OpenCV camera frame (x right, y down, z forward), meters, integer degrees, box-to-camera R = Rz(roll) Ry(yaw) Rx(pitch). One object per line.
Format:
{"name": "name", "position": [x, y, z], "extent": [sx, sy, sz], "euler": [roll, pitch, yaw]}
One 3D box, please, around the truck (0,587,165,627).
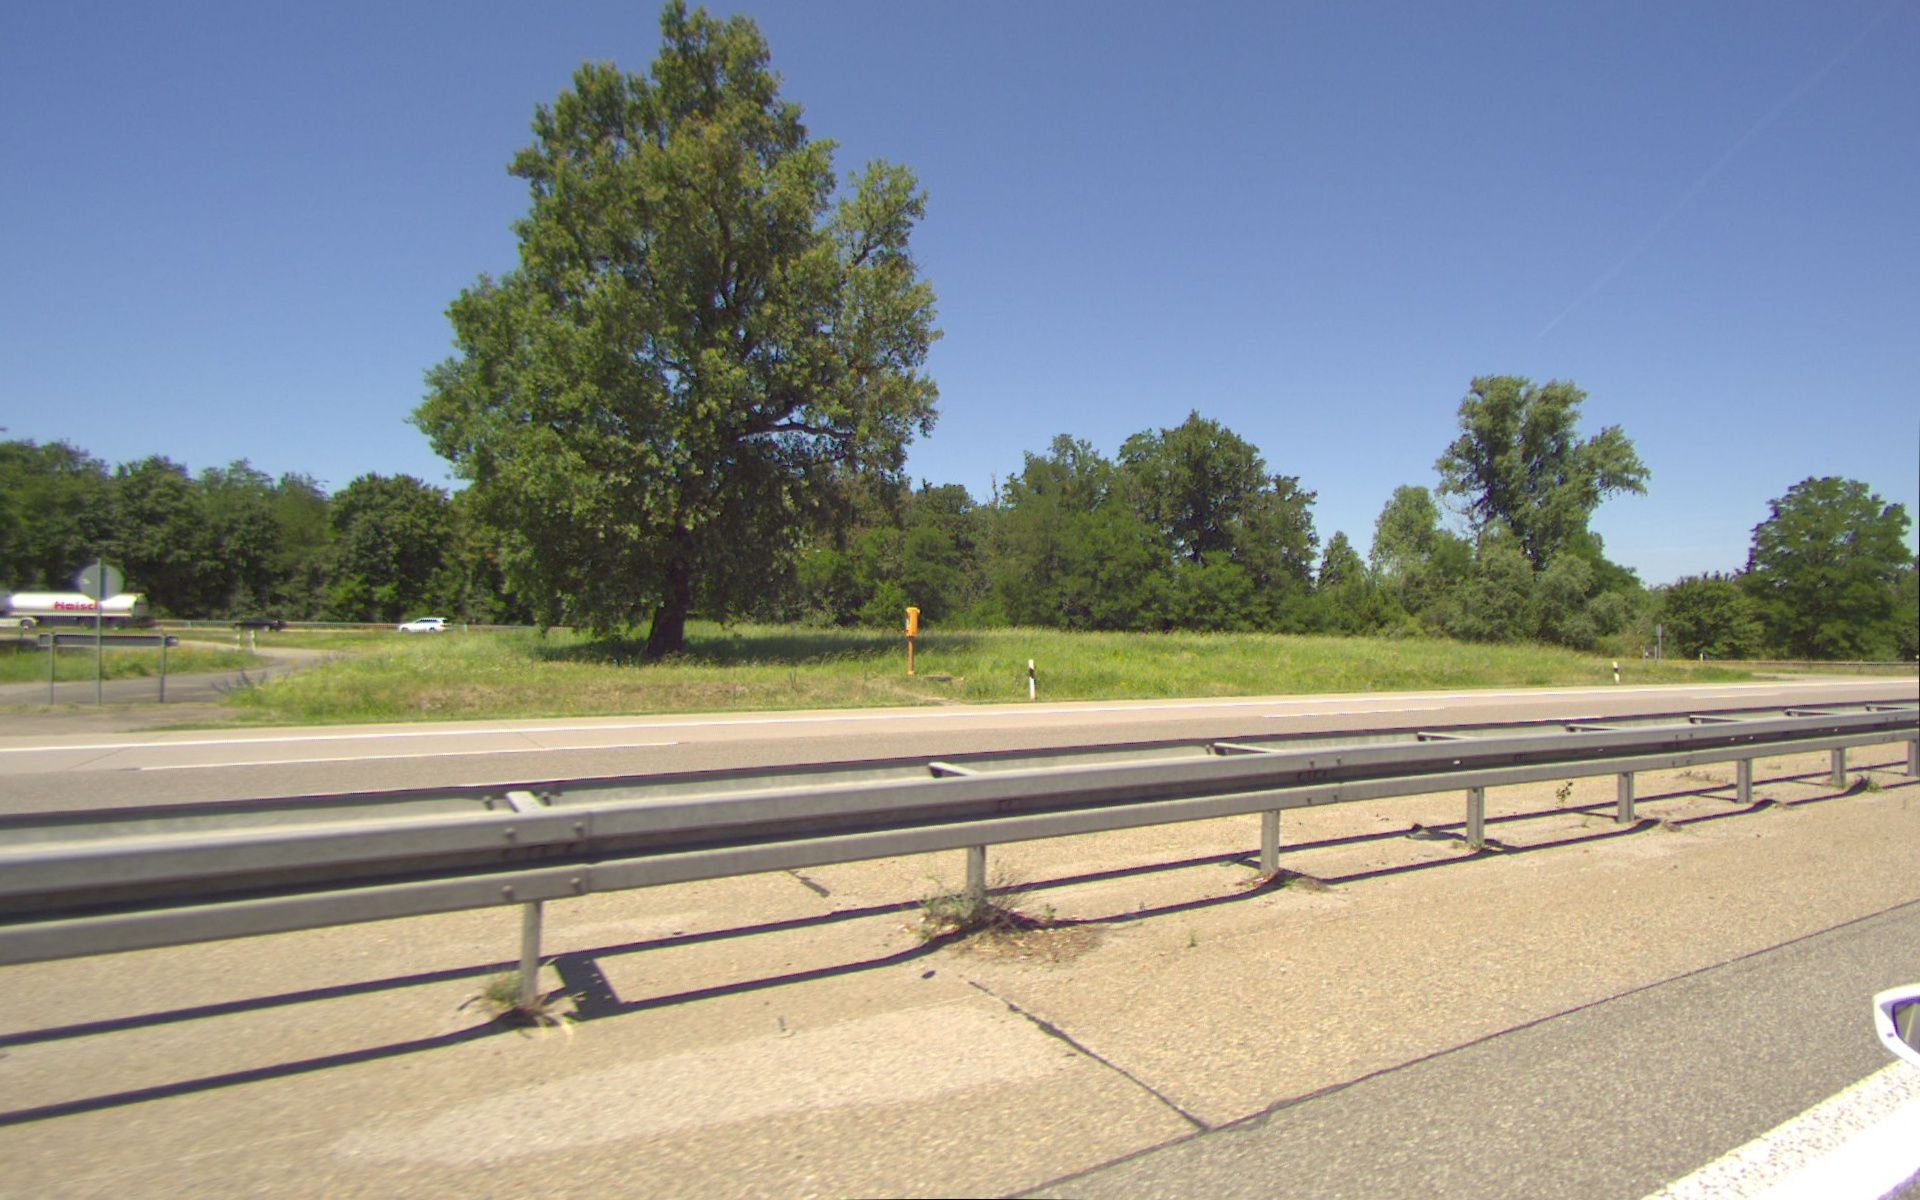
{"name": "truck", "position": [-84.050, 0.669, 94.823], "extent": [14.511, 3.326, 2.703], "euler": [2, 0, -9]}

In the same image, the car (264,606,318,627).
{"name": "car", "position": [-64.691, 1.605, 97.226], "extent": [3.923, 1.840, 1.786], "euler": [2, 0, -3]}

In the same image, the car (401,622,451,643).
{"name": "car", "position": [-51.698, 3.124, 97.326], "extent": [3.919, 1.840, 1.787], "euler": [2, 0, 5]}
